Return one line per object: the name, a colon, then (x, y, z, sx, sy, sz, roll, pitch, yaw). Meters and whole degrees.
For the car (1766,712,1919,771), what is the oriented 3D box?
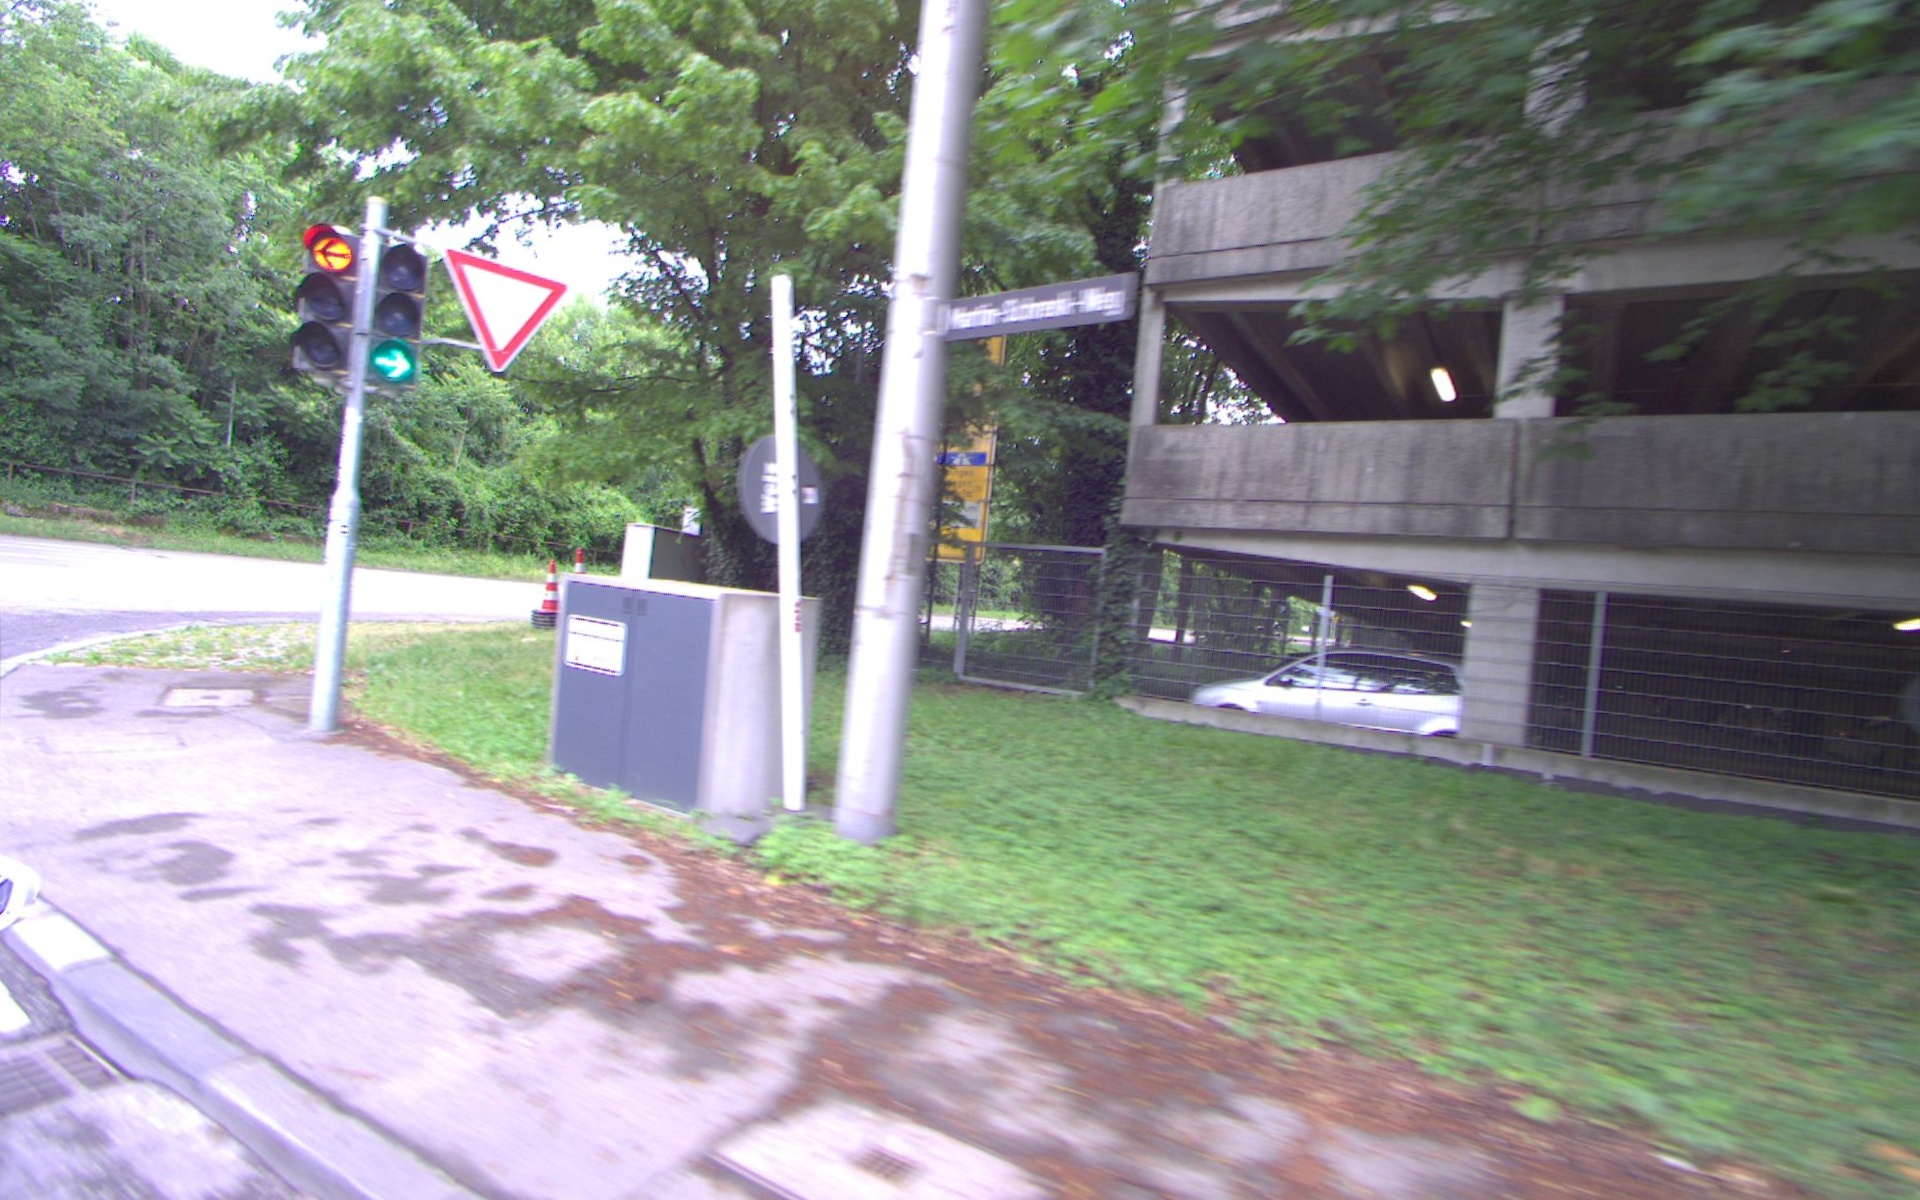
car: (30.005, 4.781, 34.323, 3.613, 1.367, 1.670, 5, -1, 30)

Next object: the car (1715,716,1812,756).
car: (40.431, 6.829, 50.729, 3.617, 1.458, 1.668, 5, -1, 35)

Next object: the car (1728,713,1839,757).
car: (37.877, 6.184, 46.399, 3.612, 1.458, 1.671, 5, -1, 30)

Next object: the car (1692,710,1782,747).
car: (42.533, 7.008, 55.154, 3.612, 1.458, 1.671, 5, -1, 30)

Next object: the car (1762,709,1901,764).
car: (32.859, 5.112, 38.077, 3.613, 1.500, 1.670, 5, -1, 30)

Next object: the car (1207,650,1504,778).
car: (5.577, 1.534, 14.298, 3.582, 1.176, 1.618, 7, 0, 33)

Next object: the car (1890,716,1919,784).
car: (24.251, 3.716, 22.967, 4.004, 1.506, 1.822, 6, 0, 30)

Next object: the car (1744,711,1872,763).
car: (34.127, 5.485, 40.606, 3.613, 1.497, 1.670, 5, -1, 30)

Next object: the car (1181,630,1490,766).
car: (4.541, 1.126, 12.236, 3.201, 1.100, 1.535, 7, 0, 32)

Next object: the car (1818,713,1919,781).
car: (24.873, 3.921, 25.767, 4.004, 1.433, 1.822, 6, 0, 30)
